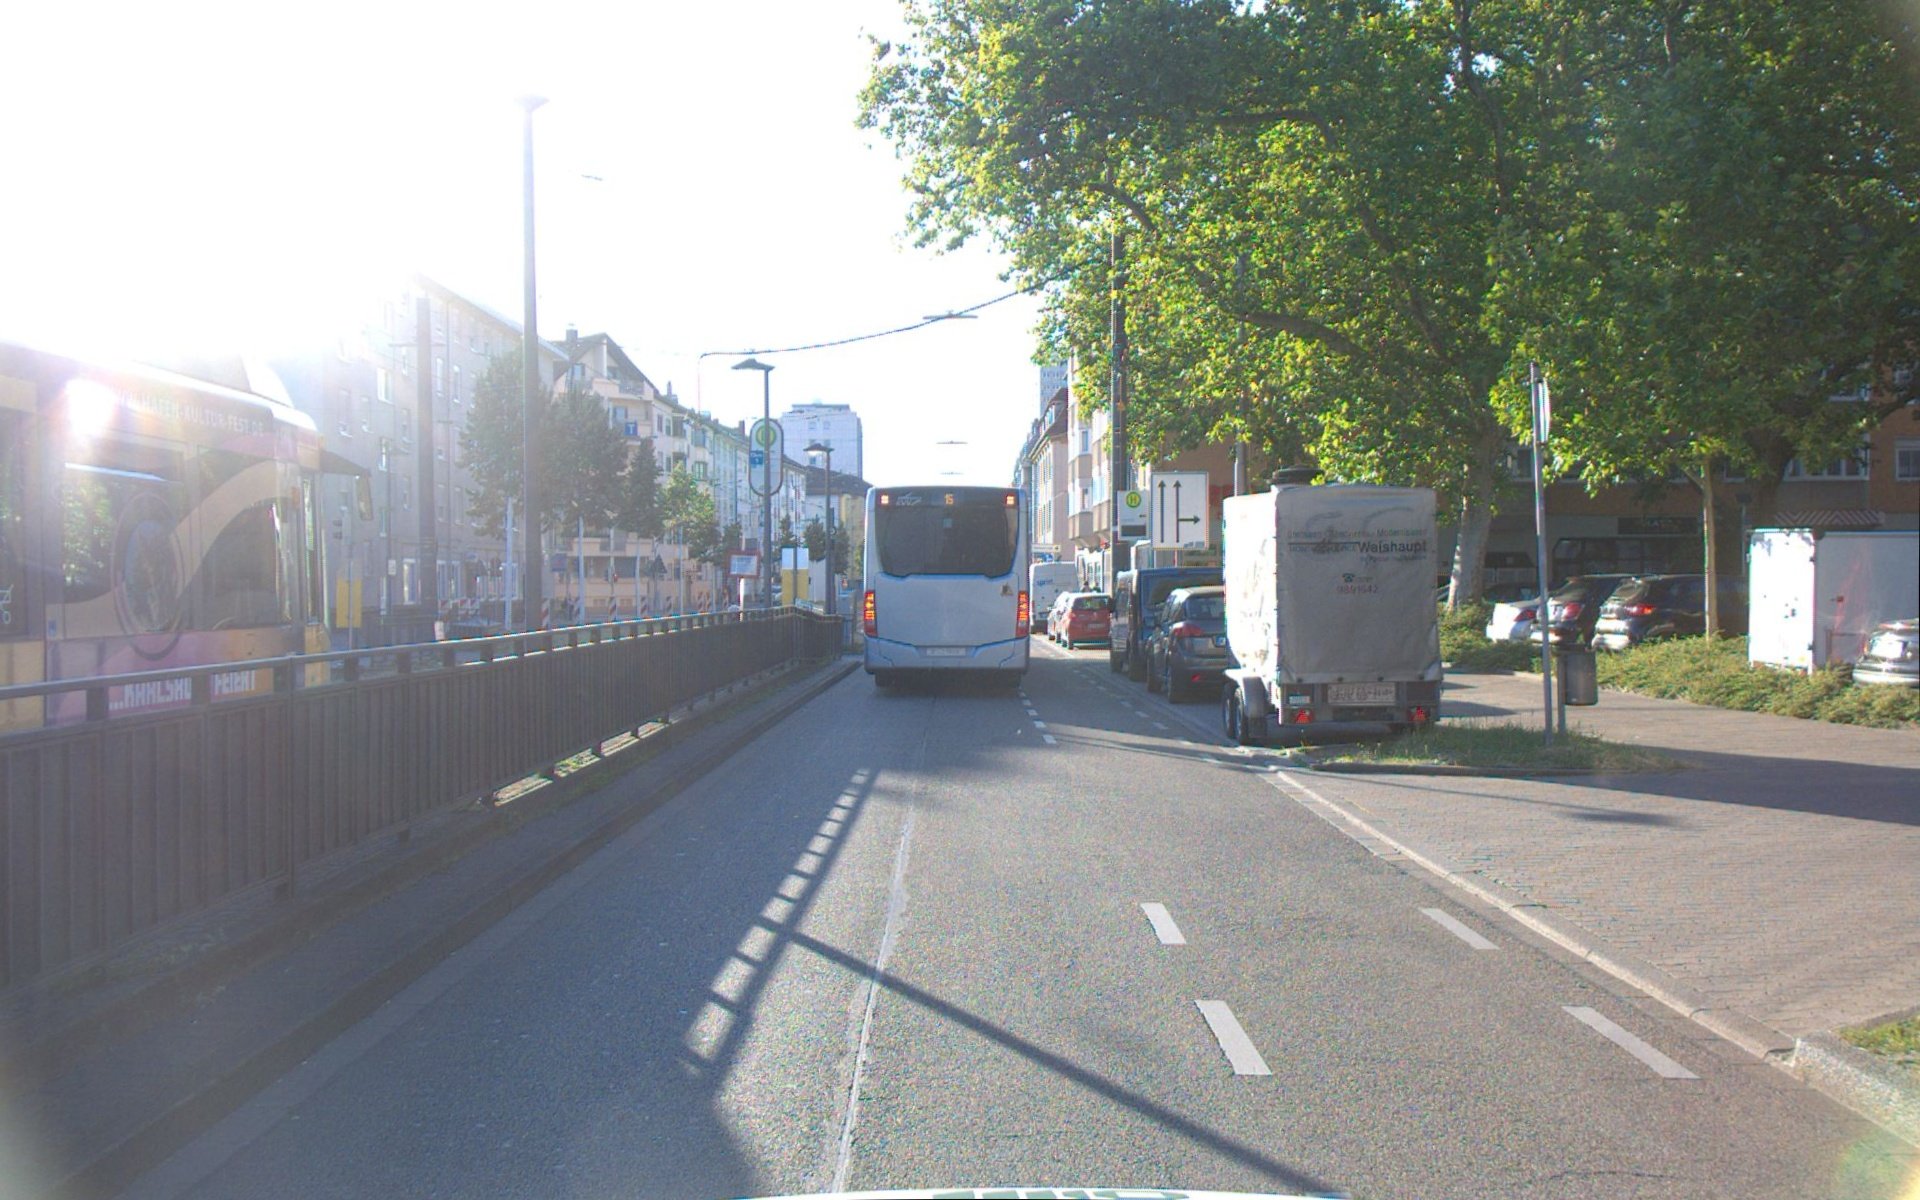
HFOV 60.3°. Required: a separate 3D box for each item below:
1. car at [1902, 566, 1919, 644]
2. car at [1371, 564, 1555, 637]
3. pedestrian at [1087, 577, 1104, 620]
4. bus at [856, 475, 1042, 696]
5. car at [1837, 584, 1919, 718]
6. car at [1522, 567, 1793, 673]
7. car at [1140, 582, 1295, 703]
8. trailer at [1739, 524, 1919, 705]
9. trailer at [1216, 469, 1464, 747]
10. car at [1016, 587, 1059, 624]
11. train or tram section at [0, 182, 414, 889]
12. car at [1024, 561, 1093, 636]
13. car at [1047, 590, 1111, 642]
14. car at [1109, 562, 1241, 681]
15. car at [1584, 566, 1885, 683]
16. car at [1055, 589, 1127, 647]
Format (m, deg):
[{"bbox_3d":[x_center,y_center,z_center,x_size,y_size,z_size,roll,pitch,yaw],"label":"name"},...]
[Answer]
[{"bbox_3d":[22.545,0.077,34.991,4.189,1.671,1.872,-1,0,-1],"label":"car"},{"bbox_3d":[11.913,0.014,39.299,3.840,1.616,1.706,-1,0,-1],"label":"car"},{"bbox_3d":[6.316,-0.059,77.147,0.671,1.981,1.116,0,-2,0],"label":"pedestrian"},{"bbox_3d":[-0.248,-0.228,29.452,2.678,3.194,10.701,0,0,-1],"label":"bus"},{"bbox_3d":[11.697,0.486,17.576,3.839,1.359,1.706,-1,0,1],"label":"car"},{"bbox_3d":[11.705,0.321,27.904,3.840,1.666,1.706,-1,0,-1],"label":"car"},{"bbox_3d":[3.710,0.580,24.402,1.666,1.616,3.827,-1,0,0],"label":"car"},{"bbox_3d":[11.488,0.163,20.263,3.001,2.106,1.879,0,0,1],"label":"trailer"},{"bbox_3d":[3.868,0.071,17.380,1.795,2.602,3.318,-1,0,0],"label":"trailer"},{"bbox_3d":[3.426,0.213,73.753,1.694,1.602,3.675,-1,0,0],"label":"car"},{"bbox_3d":[-6.152,-0.315,8.009,2.586,3.580,13.333,-1,0,0],"label":"train or tram section"},{"bbox_3d":[3.665,-0.057,62.468,2.235,2.673,5.309,-1,0,0],"label":"car"},{"bbox_3d":[3.657,0.473,51.463,1.637,1.488,3.933,-3,0,0],"label":"car"},{"bbox_3d":[3.873,0.367,30.554,1.809,1.991,4.543,-1,0,0],"label":"car"},{"bbox_3d":[11.883,0.365,25.543,3.840,1.665,1.706,-1,0,-1],"label":"car"},{"bbox_3d":[3.657,0.490,46.582,1.637,1.488,3.933,-3,0,0],"label":"car"}]
